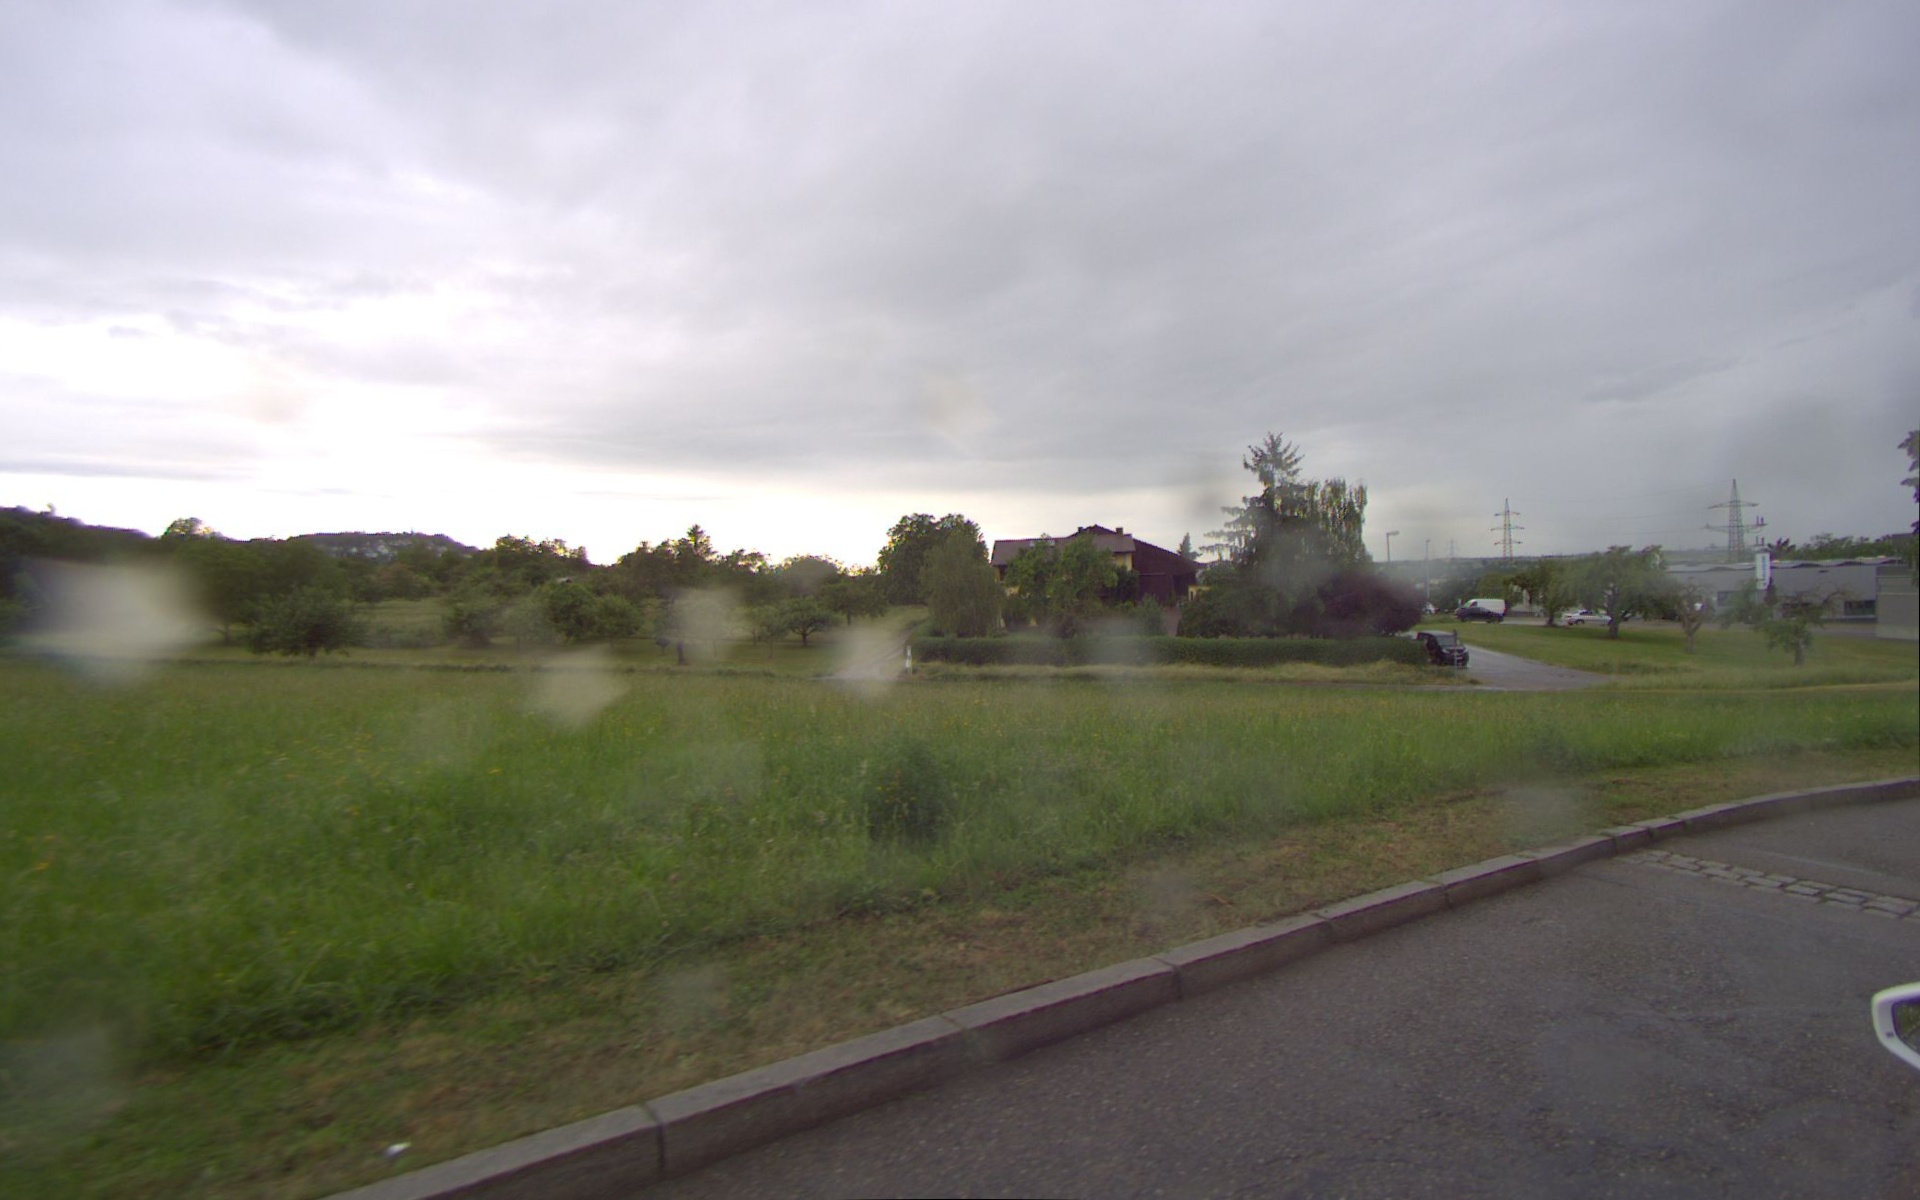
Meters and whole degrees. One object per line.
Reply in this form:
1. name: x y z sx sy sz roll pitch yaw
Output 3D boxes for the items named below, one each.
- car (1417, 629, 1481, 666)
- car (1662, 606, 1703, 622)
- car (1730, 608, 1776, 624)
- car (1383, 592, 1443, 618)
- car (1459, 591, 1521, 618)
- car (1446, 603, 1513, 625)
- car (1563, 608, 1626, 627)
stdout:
1. car: 30.606 2.960 62.997 1.891 2.249 4.505 0 -2 2
2. car: 74.968 1.437 104.307 1.774 1.639 4.002 1 0 8
3. car: 81.316 1.626 103.032 1.959 1.639 4.002 1 0 8
4. car: 50.586 0.504 112.152 5.697 2.738 2.000 1 1 1
5. car: 69.087 0.608 131.022 6.593 3.470 2.546 0 -2 7
6. car: 50.502 1.348 97.677 5.312 2.000 2.293 1 -2 7
7. car: 60.430 1.686 95.707 4.526 1.670 2.293 0 -2 7
